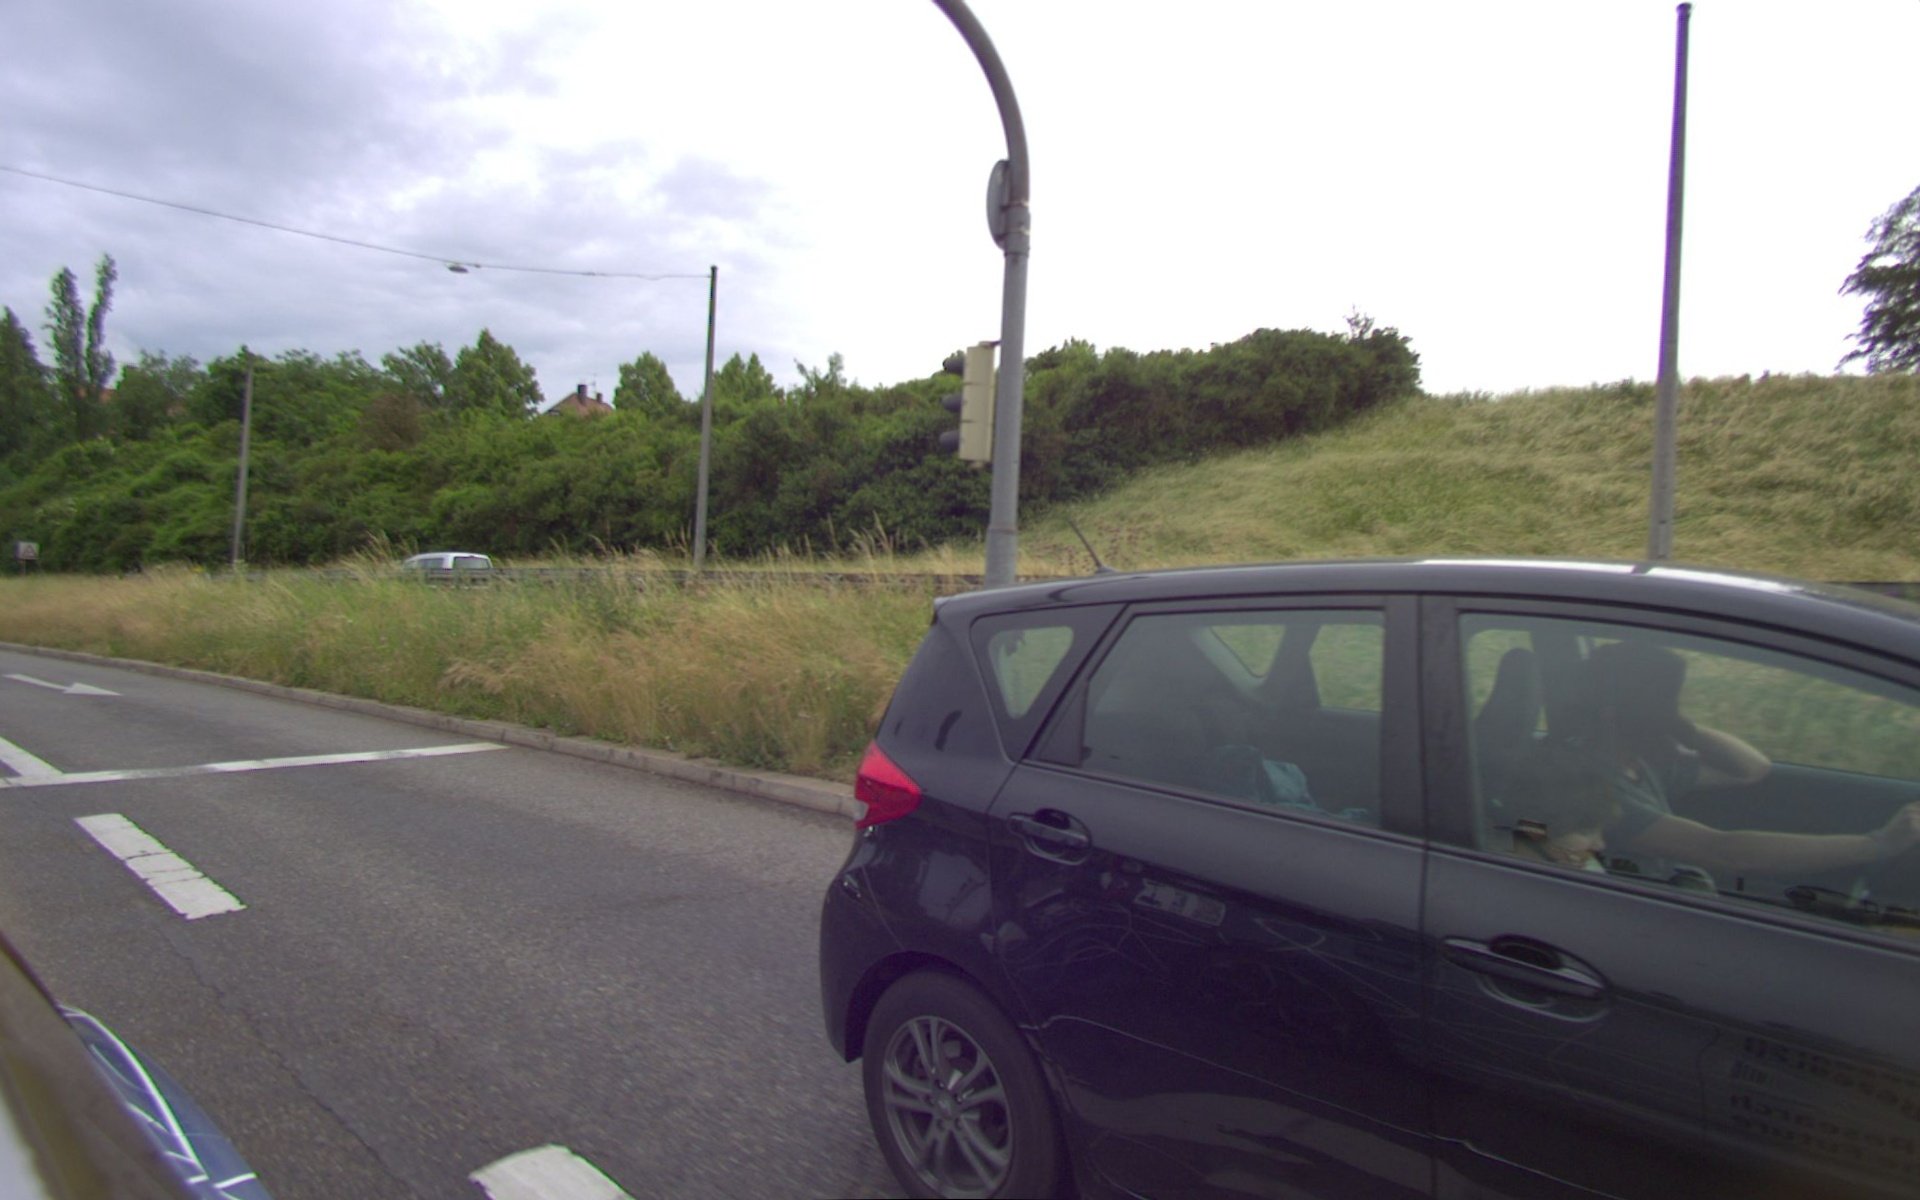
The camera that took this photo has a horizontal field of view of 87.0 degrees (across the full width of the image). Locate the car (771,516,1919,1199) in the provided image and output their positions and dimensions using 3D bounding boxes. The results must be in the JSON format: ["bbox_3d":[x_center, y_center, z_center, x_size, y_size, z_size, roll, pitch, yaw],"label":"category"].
[{"bbox_3d":[1.616,0.659,1.942,4.042,1.577,1.777,0,2,42],"label":"car"}]

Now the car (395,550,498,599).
[{"bbox_3d":[-15.970,-0.787,31.452,3.222,1.443,1.543,1,2,35],"label":"car"}]
